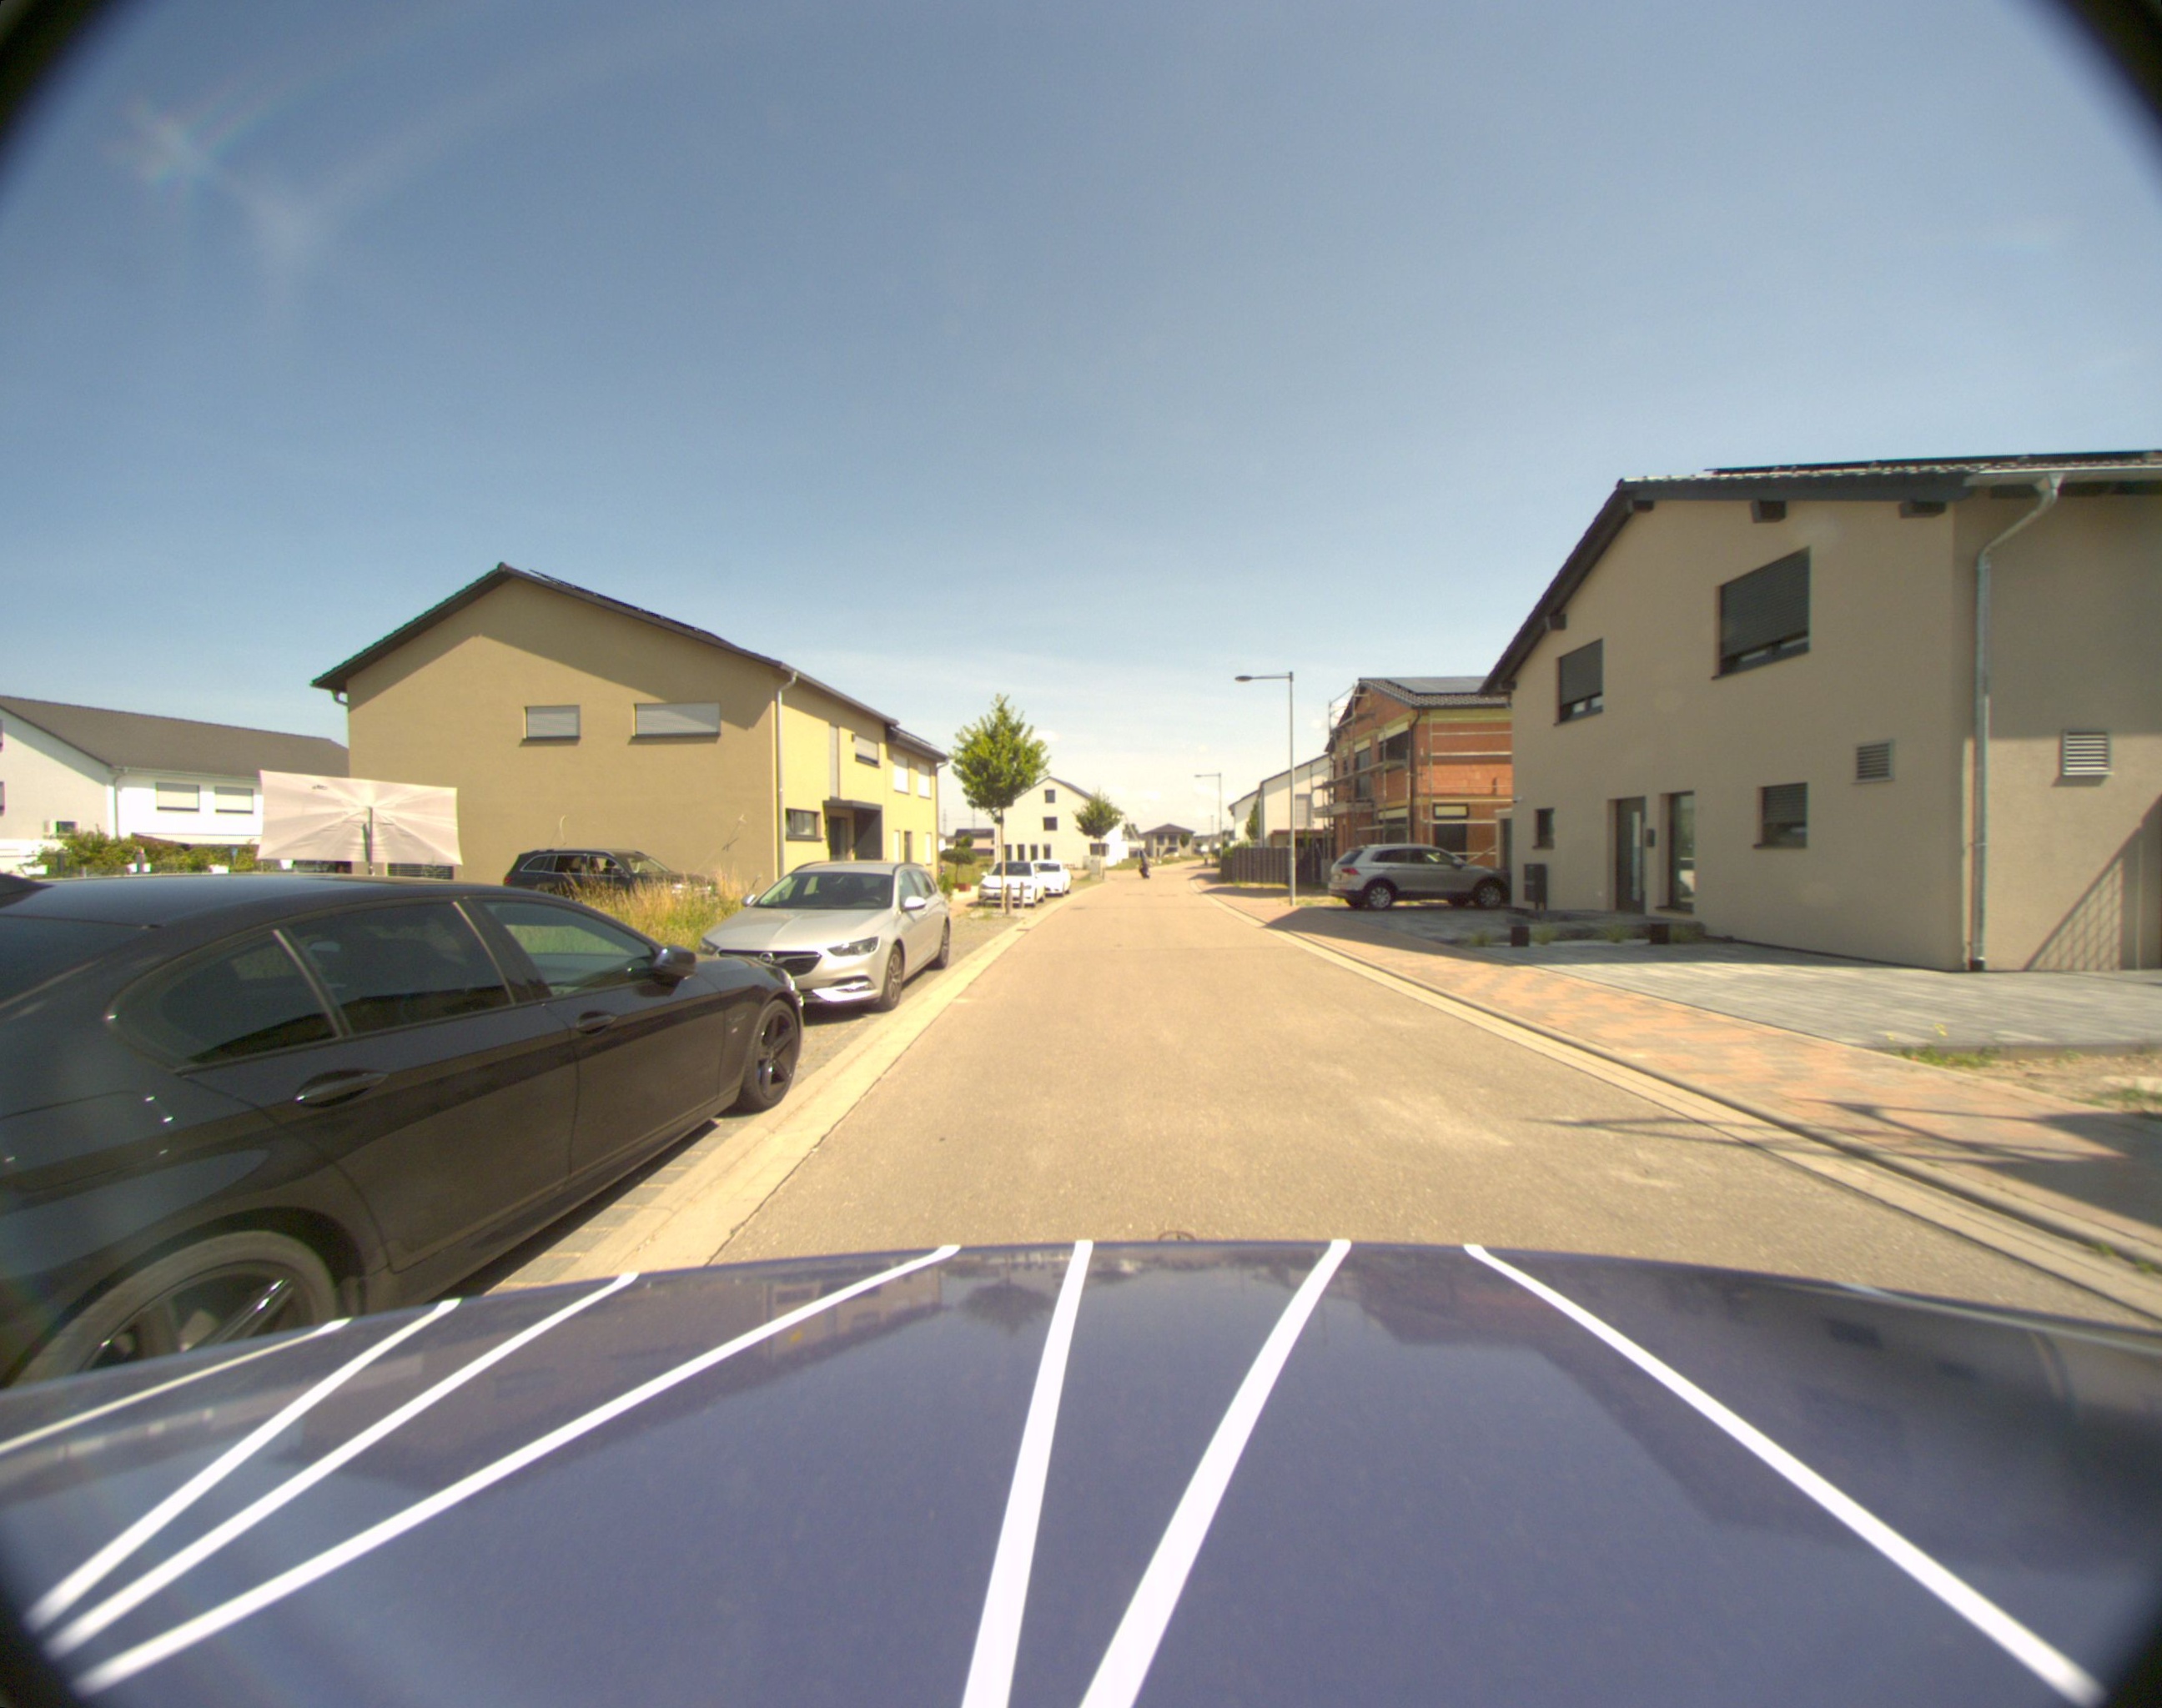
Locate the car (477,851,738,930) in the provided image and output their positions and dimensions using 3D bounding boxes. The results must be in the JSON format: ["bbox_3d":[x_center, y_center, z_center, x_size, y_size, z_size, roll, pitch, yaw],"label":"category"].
[{"bbox_3d":[-10.716,0.787,17.462,4.757,1.635,2.000,0,1,2],"label":"car"}]

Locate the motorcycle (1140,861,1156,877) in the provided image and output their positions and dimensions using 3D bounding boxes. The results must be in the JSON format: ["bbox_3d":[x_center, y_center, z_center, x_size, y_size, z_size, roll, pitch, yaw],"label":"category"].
[{"bbox_3d":[4.809,1.051,54.687,0.958,1.029,2.436,-2,1,0],"label":"motorcycle"}]

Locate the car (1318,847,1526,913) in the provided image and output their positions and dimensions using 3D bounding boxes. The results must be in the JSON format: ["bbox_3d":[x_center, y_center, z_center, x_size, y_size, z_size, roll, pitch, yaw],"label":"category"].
[{"bbox_3d":[8.587,0.626,19.443,4.435,1.602,2.000,0,0,1],"label":"car"}]

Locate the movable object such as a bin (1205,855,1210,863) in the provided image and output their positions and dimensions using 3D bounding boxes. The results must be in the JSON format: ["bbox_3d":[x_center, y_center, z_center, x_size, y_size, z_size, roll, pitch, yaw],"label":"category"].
[{"bbox_3d":[15.962,0.617,95.669,0.597,0.916,0.462,0,1,14],"label":"movable object such as a bin"}]

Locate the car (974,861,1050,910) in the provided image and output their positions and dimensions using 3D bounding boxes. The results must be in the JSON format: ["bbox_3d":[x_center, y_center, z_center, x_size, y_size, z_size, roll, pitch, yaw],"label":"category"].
[{"bbox_3d":[-2.169,0.956,25.051,1.783,1.417,4.515,1,0,4],"label":"car"}]

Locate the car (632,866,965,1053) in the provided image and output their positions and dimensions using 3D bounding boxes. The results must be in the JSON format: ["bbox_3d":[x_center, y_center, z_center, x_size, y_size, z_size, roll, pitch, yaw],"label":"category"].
[{"bbox_3d":[-2.796,0.934,9.064,1.923,1.502,5.295,1,0,1],"label":"car"}]

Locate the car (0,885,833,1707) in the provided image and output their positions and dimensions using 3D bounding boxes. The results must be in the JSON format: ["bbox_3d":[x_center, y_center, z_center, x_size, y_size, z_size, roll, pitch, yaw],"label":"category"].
[{"bbox_3d":[-2.878,0.954,2.995,1.923,1.461,5.141,1,0,2],"label":"car"}]

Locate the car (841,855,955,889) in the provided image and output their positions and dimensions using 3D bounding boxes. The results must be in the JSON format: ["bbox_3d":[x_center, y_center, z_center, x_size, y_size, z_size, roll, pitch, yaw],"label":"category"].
[{"bbox_3d":[-8.752,0.825,36.486,4.897,1.417,2.001,2,0,7],"label":"car"}]

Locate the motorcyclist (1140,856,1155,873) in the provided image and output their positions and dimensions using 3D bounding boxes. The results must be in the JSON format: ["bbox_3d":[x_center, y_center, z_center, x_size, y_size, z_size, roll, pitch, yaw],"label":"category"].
[{"bbox_3d":[4.796,0.754,54.790,0.927,1.215,0.803,-2,0,0],"label":"motorcyclist"}]

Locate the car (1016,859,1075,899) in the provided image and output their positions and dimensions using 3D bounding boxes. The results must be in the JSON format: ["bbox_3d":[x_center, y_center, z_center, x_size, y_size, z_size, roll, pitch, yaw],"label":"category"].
[{"bbox_3d":[-1.376,0.981,31.338,1.818,1.447,4.566,1,0,5],"label":"car"}]
